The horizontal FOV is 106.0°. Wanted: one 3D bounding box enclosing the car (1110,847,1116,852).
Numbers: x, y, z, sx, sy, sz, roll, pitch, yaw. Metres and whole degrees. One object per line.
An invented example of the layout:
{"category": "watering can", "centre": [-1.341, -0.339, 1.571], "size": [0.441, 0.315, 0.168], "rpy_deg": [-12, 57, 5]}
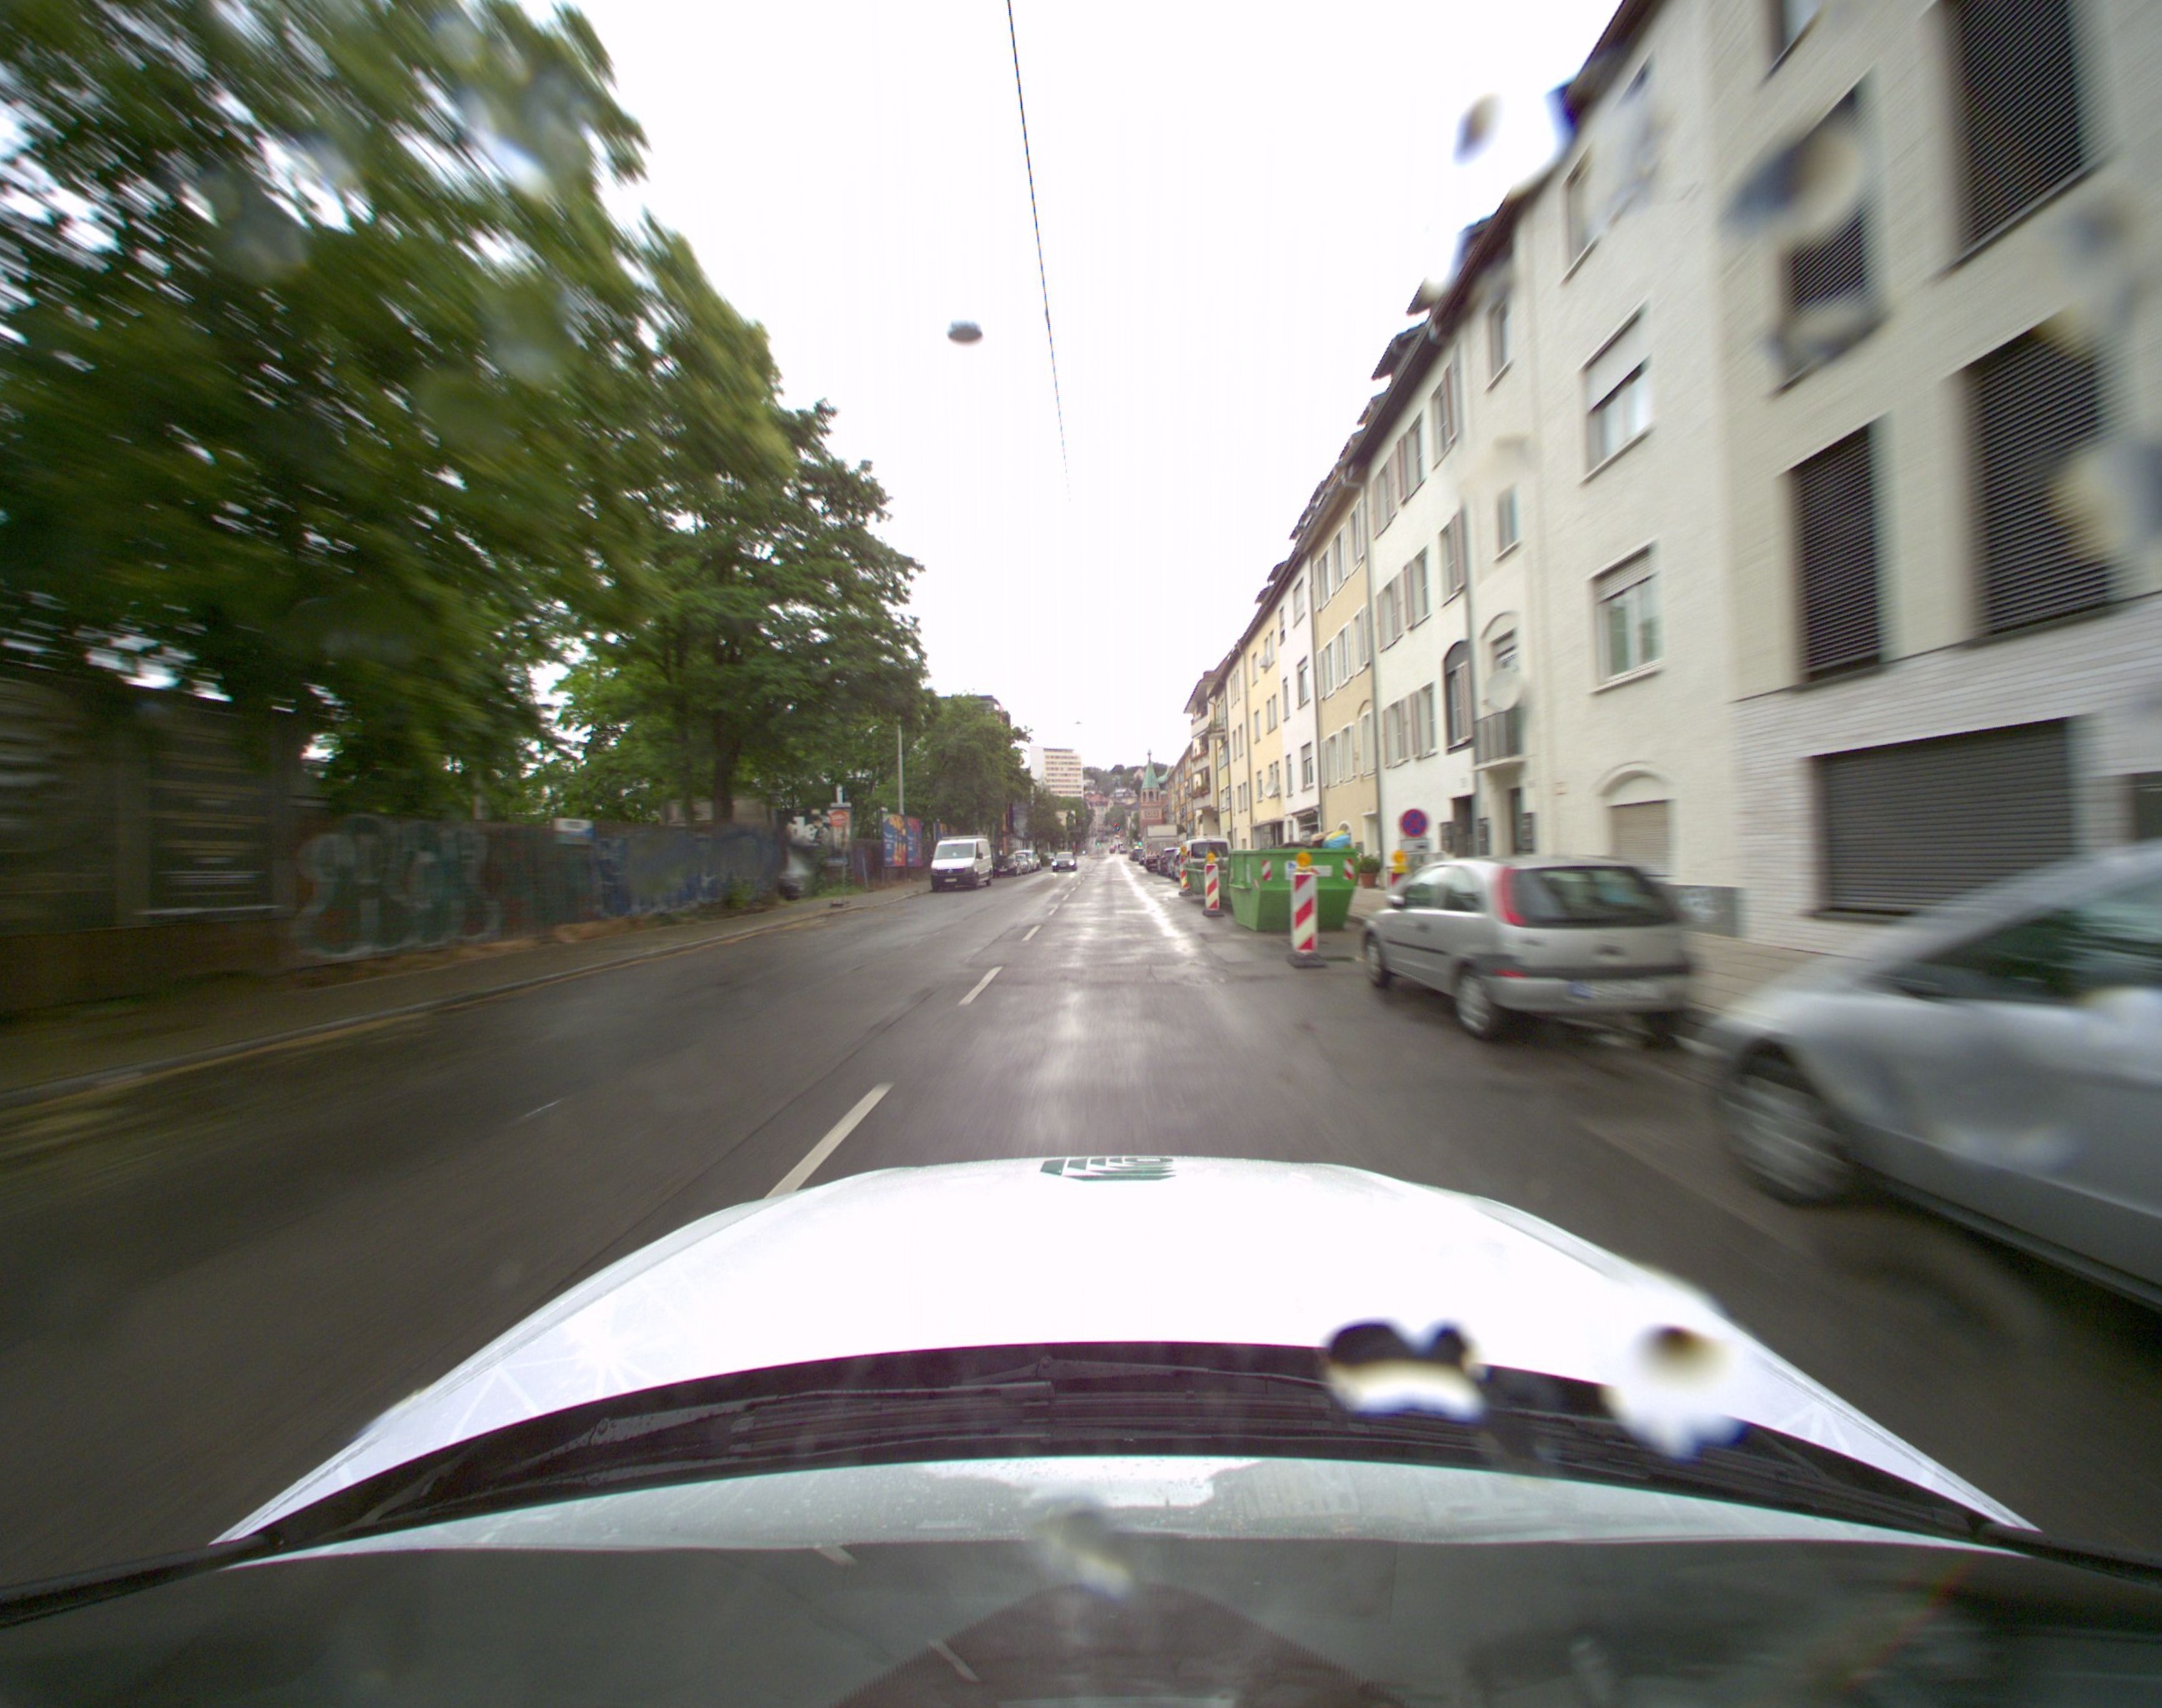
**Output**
{"category": "car", "centre": [10.342, -1.314, 260.307], "size": [1.901, 1.510, 4.002], "rpy_deg": [-2, 0, 2]}

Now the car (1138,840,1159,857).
{"category": "car", "centre": [6.421, -0.476, 77.955], "size": [1.657, 1.502, 3.921], "rpy_deg": [-2, 0, 1]}

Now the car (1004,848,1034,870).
{"category": "car", "centre": [-4.530, 0.400, 59.963], "size": [1.676, 1.462, 4.278], "rpy_deg": [-3, -1, 1]}

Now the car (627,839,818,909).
{"category": "car", "centre": [-12.209, 0.650, 28.024], "size": [5.482, 2.009, 2.146], "rpy_deg": [-3, 0, -1]}

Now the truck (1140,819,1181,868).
{"category": "truck", "centre": [5.553, -0.664, 57.827], "size": [2.460, 3.172, 7.040], "rpy_deg": [-2, 0, 3]}

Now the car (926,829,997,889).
{"category": "car", "centre": [-5.459, 0.200, 38.042], "size": [2.004, 2.487, 5.987], "rpy_deg": [-3, 0, 3]}

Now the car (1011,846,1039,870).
{"category": "car", "centre": [-4.420, 0.348, 65.075], "size": [1.717, 1.800, 4.345], "rpy_deg": [-3, -1, 1]}

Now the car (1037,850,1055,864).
{"category": "car", "centre": [-4.012, 0.403, 93.732], "size": [1.797, 1.450, 4.657], "rpy_deg": [-3, -1, 0]}

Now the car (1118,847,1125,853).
{"category": "car", "centre": [12.468, -1.333, 250.070], "size": [1.843, 1.766, 4.004], "rpy_deg": [-1, 0, 3]}

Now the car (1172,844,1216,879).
{"category": "car", "centre": [5.061, 0.332, 36.867], "size": [1.571, 1.470, 3.503], "rpy_deg": [-2, 0, 2]}

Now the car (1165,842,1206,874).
{"category": "car", "centre": [5.355, 0.179, 42.108], "size": [1.657, 1.500, 4.100], "rpy_deg": [-2, 0, 2]}

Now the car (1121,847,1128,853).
{"category": "car", "centre": [12.657, -1.273, 238.333], "size": [1.724, 1.653, 4.006], "rpy_deg": [-3, 0, 5]}

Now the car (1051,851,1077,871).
{"category": "car", "centre": [-1.301, 0.534, 64.316], "size": [1.799, 1.415, 4.384], "rpy_deg": [-2, 0, 0]}

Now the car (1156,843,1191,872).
{"category": "car", "centre": [5.352, 0.194, 47.606], "size": [1.657, 1.573, 4.100], "rpy_deg": [-2, 0, 2]}

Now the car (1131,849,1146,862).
{"category": "car", "centre": [7.267, 0.206, 103.516], "size": [1.811, 1.652, 4.077], "rpy_deg": [-1, 0, 2]}

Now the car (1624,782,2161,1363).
{"category": "car", "centre": [3.686, 0.562, 2.306], "size": [1.710, 1.524, 4.001], "rpy_deg": [-1, 0, 1]}

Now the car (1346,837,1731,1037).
{"category": "car", "centre": [3.878, 0.579, 7.715], "size": [1.620, 1.411, 3.844], "rpy_deg": [-1, 0, 2]}

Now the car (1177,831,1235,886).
{"category": "car", "centre": [4.746, 0.146, 31.482], "size": [1.810, 1.924, 4.243], "rpy_deg": [-2, 0, 4]}

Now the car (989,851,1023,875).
{"category": "car", "centre": [-4.840, 0.569, 52.889], "size": [1.676, 1.398, 3.911], "rpy_deg": [-3, -1, 1]}
